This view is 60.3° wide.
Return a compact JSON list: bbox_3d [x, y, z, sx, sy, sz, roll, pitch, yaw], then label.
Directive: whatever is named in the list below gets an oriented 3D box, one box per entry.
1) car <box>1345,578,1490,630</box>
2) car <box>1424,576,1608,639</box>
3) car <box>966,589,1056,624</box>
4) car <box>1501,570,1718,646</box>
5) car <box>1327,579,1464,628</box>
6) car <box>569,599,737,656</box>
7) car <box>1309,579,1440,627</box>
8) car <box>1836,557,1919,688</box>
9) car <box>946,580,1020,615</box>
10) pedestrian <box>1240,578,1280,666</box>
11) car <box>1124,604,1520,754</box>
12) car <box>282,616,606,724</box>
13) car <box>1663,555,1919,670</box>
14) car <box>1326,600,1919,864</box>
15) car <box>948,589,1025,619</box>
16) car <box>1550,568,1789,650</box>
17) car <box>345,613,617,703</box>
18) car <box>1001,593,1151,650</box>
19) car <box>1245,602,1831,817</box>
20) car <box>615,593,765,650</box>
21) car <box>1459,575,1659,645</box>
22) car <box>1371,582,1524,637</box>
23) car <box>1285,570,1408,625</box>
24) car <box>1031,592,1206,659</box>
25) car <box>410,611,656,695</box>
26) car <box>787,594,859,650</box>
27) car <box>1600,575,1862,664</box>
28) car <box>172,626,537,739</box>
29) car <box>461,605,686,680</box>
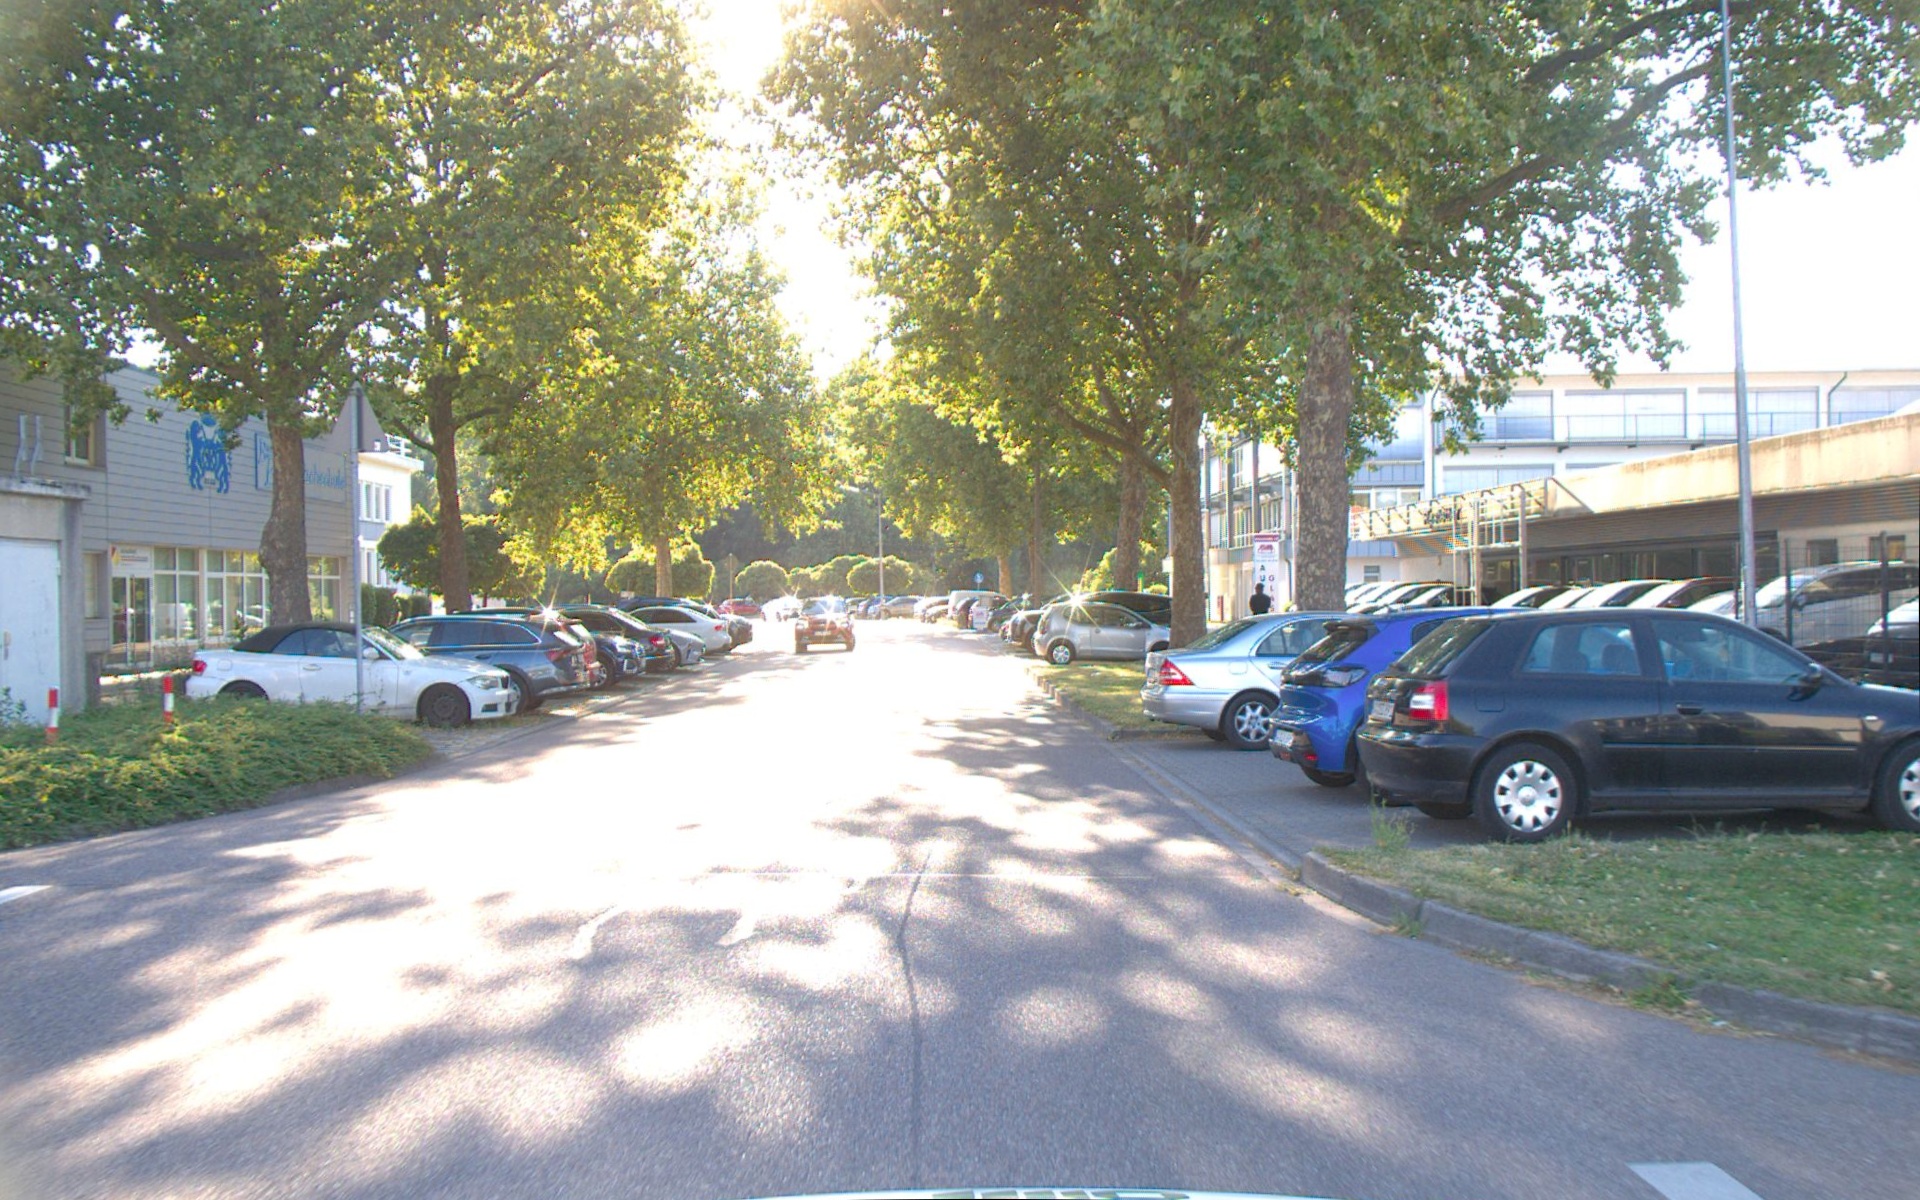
[{"bbox_3d":[14.112,0.116,51.120,3.907,1.573,1.999,0,0,-3],"label":"car"},{"bbox_3d":[13.758,0.177,41.078,3.907,1.530,1.999,0,0,-3],"label":"car"},{"bbox_3d":[2.241,0.277,73.582,3.906,1.440,1.826,-2,0,-2],"label":"car"},{"bbox_3d":[13.947,0.170,35.685,3.907,1.573,1.999,0,0,-3],"label":"car"},{"bbox_3d":[14.072,0.107,53.583,3.907,1.573,1.999,0,0,-3],"label":"car"},{"bbox_3d":[-8.595,0.761,46.582,4.325,1.543,2.000,0,0,0],"label":"car"},{"bbox_3d":[13.985,0.098,55.992,3.907,1.573,1.999,0,0,-3],"label":"car"},{"bbox_3d":[14.504,0.296,22.726,3.907,1.730,1.999,0,0,-3],"label":"car"},{"bbox_3d":[1.223,-0.138,89.673,3.906,1.808,1.826,-2,0,-2],"label":"car"},{"bbox_3d":[7.129,0.516,39.343,0.833,2.049,0.779,0,0,4],"label":"pedestrian"},{"bbox_3d":[3.867,0.822,18.141,3.906,1.440,1.826,-2,0,-2],"label":"car"},{"bbox_3d":[-7.748,1.029,25.196,4.327,1.543,1.999,0,0,-3],"label":"car"},{"bbox_3d":[14.256,0.209,27.974,3.907,1.864,1.999,0,0,-3],"label":"car"},{"bbox_3d":[4.592,0.777,10.817,3.906,1.440,1.999,-2,0,-2],"label":"car"},{"bbox_3d":[1.367,0.192,85.980,3.906,1.440,1.826,-2,0,-2],"label":"car"},{"bbox_3d":[14.069,0.180,32.959,3.907,1.573,1.999,0,0,-3],"label":"car"},{"bbox_3d":[-8.511,1.012,29.719,4.327,1.543,1.999,0,0,-3],"label":"car"},{"bbox_3d":[3.116,0.577,44.985,3.906,1.405,1.826,-2,0,-2],"label":"car"},{"bbox_3d":[4.411,0.796,13.102,3.906,1.440,1.999,-2,0,-2],"label":"car"},{"bbox_3d":[-8.394,0.652,51.658,4.325,1.727,2.000,0,0,0],"label":"car"},{"bbox_3d":[13.859,0.214,38.408,3.907,1.573,1.999,0,0,-3],"label":"car"},{"bbox_3d":[14.274,0.276,48.560,3.907,1.573,1.999,0,0,-3],"label":"car"},{"bbox_3d":[13.743,-0.095,58.927,3.907,1.939,1.999,0,0,-3],"label":"car"},{"bbox_3d":[3.691,0.582,39.020,3.906,1.440,1.826,-2,0,-2],"label":"car"},{"bbox_3d":[-8.228,1.003,32.215,4.329,1.543,1.998,0,0,-5],"label":"car"},{"bbox_3d":[-4.198,0.638,51.111,1.953,1.637,3.999,1,0,-1],"label":"car"},{"bbox_3d":[14.156,0.346,30.525,3.907,1.573,1.999,0,0,-3],"label":"car"},{"bbox_3d":[-8.179,1.095,22.728,4.331,1.427,1.997,0,0,-7],"label":"car"},{"bbox_3d":[-8.213,0.881,35.459,4.325,1.543,2.000,0,0,0],"label":"car"}]
